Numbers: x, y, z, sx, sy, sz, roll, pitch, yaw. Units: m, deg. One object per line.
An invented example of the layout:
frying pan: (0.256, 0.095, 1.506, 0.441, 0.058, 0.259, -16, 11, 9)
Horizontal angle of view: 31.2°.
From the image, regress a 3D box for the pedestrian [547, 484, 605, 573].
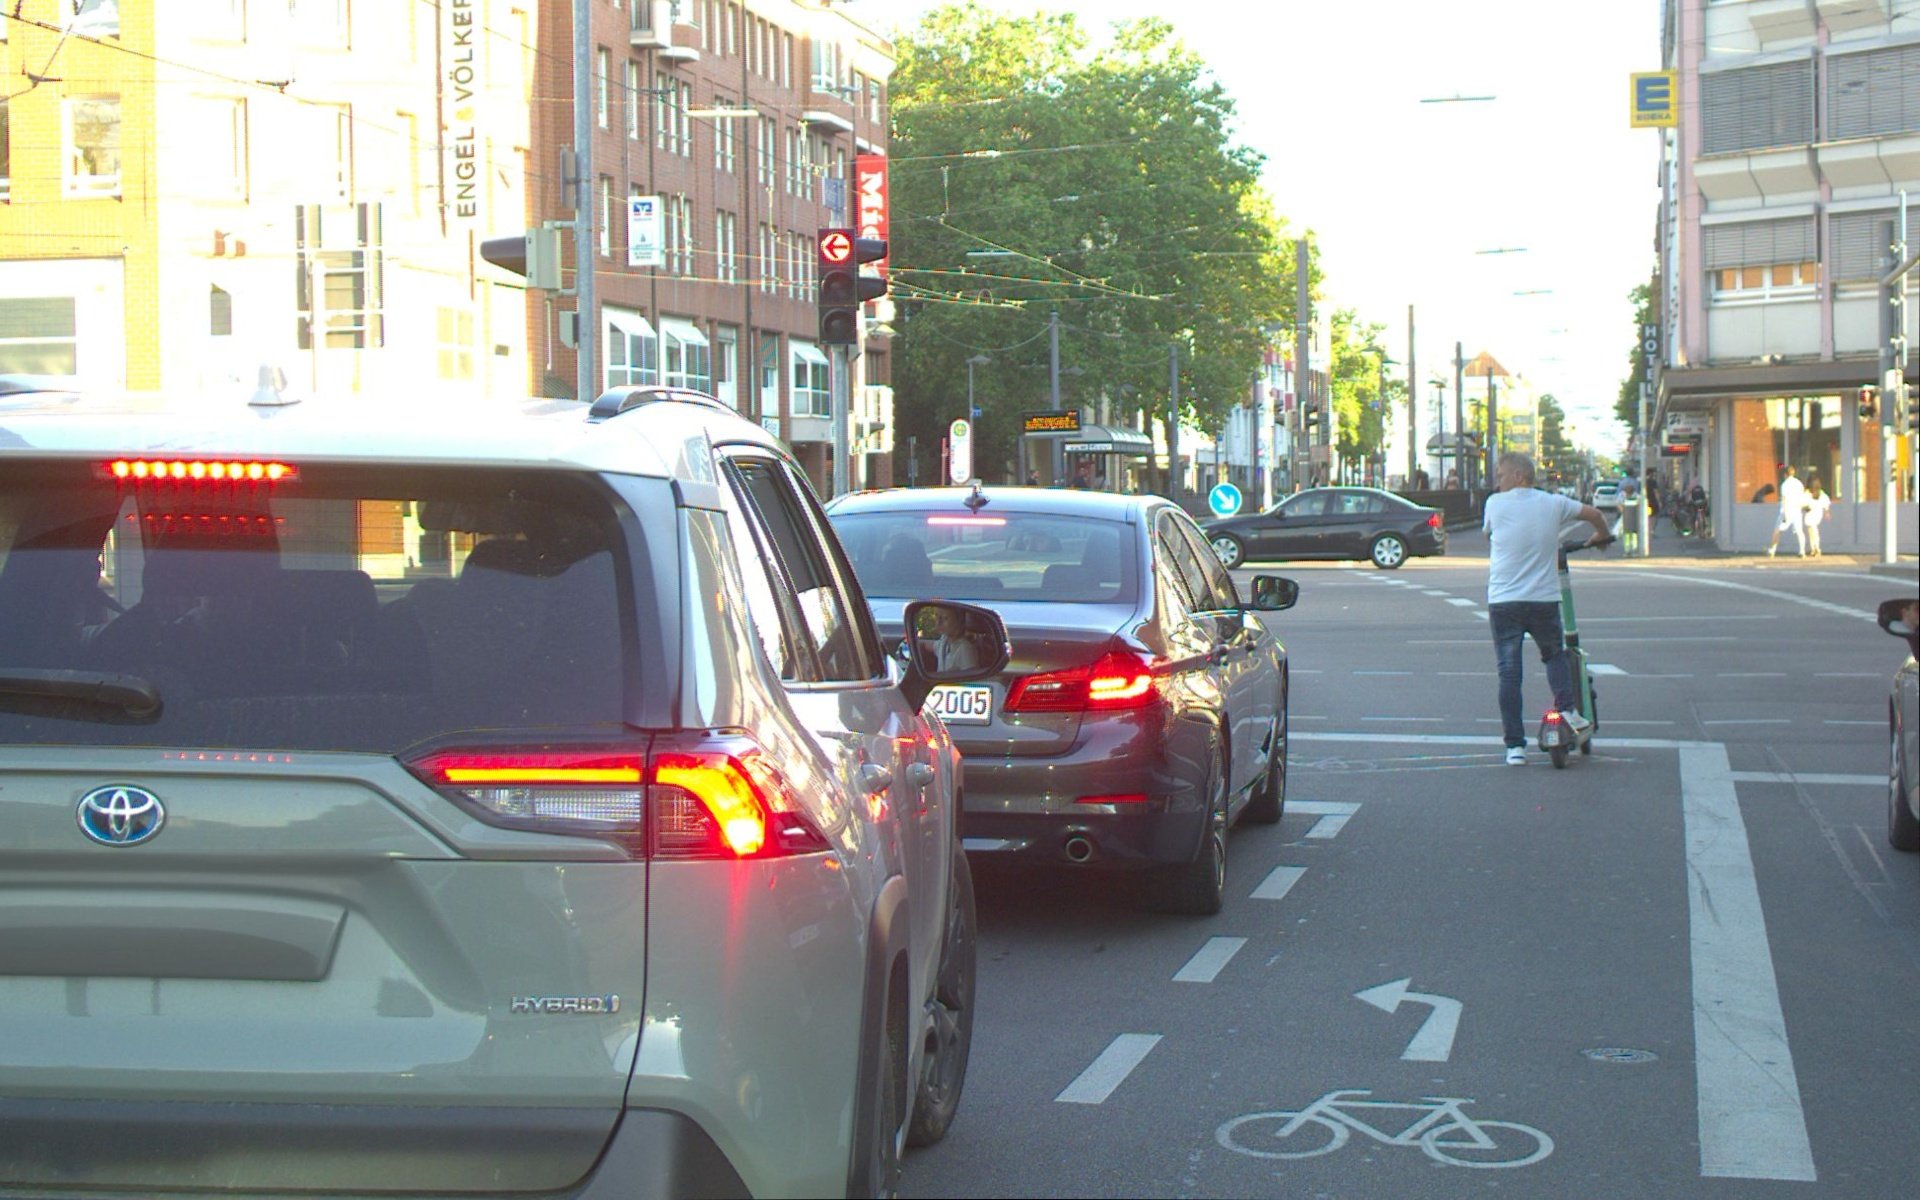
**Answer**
pedestrian: (-8.808, -1.645, 78.948, 1.094, 2.006, 0.908, 1, 2, 9)

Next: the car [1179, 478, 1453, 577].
car: (6.101, -1.249, 58.715, 4.553, 1.615, 1.997, 1, 2, 8)

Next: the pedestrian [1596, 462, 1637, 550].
pedestrian: (16.549, -2.366, 86.709, 0.932, 2.189, 0.852, 1, 2, 9)

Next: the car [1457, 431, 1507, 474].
car: (24.027, -6.782, 158.094, 1.994, 1.894, 3.998, 1, 2, 12)

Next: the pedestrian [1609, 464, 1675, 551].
pedestrian: (13.586, -1.844, 68.486, 0.932, 1.720, 0.852, 0, 2, -30)

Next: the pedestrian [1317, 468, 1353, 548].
pedestrian: (8.614, -2.116, 78.972, 0.701, 1.816, 0.807, 1, 2, 13)

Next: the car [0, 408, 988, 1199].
car: (-0.942, 0.490, 6.136, 1.835, 1.630, 4.091, 1, 3, 2)

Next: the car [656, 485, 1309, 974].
car: (0.274, 0.328, 13.052, 1.745, 1.455, 4.409, 1, 3, 10)

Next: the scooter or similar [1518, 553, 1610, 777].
scooter or similar: (3.118, 0.313, 17.700, 0.280, 1.087, 1.256, 2, 2, 18)

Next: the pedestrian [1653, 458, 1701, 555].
pedestrian: (17.653, -2.298, 84.635, 1.085, 2.357, 1.055, 1, 2, 12)

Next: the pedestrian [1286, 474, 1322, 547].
pedestrian: (7.916, -2.054, 79.148, 0.701, 1.658, 0.807, 1, 2, 13)

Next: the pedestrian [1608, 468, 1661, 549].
pedestrian: (13.621, -1.852, 69.467, 0.721, 1.618, 0.772, -2, 2, -26)

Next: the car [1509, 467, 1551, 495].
car: (27.951, -5.850, 168.669, 1.994, 1.305, 3.999, 0, 2, 10)

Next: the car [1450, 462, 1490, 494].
car: (29.966, -7.182, 202.040, 1.995, 1.853, 3.998, 0, 2, 13)

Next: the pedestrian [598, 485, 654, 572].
pedestrian: (-7.806, -1.670, 80.412, 1.094, 2.006, 0.908, 1, 2, 9)

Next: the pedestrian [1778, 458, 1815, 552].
pedestrian: (15.969, -1.812, 65.618, 0.493, 1.768, 0.475, -2, 2, -26)

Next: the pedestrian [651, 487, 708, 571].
pedestrian: (-6.814, -1.741, 83.492, 1.094, 2.006, 1.163, 1, 2, 9)

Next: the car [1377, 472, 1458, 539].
car: (12.354, -2.554, 92.654, 1.812, 1.740, 3.713, 1, 2, 12)

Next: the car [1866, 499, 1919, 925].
car: (4.352, 0.372, 12.542, 1.765, 1.435, 3.998, 1, 2, 11)

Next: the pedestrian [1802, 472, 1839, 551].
pedestrian: (16.488, -1.694, 65.886, 0.493, 1.498, 0.475, -2, 2, -26)

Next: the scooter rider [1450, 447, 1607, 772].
scooter rider: (2.953, 0.036, 17.835, 0.662, 1.641, 0.660, 2, 2, 20)
